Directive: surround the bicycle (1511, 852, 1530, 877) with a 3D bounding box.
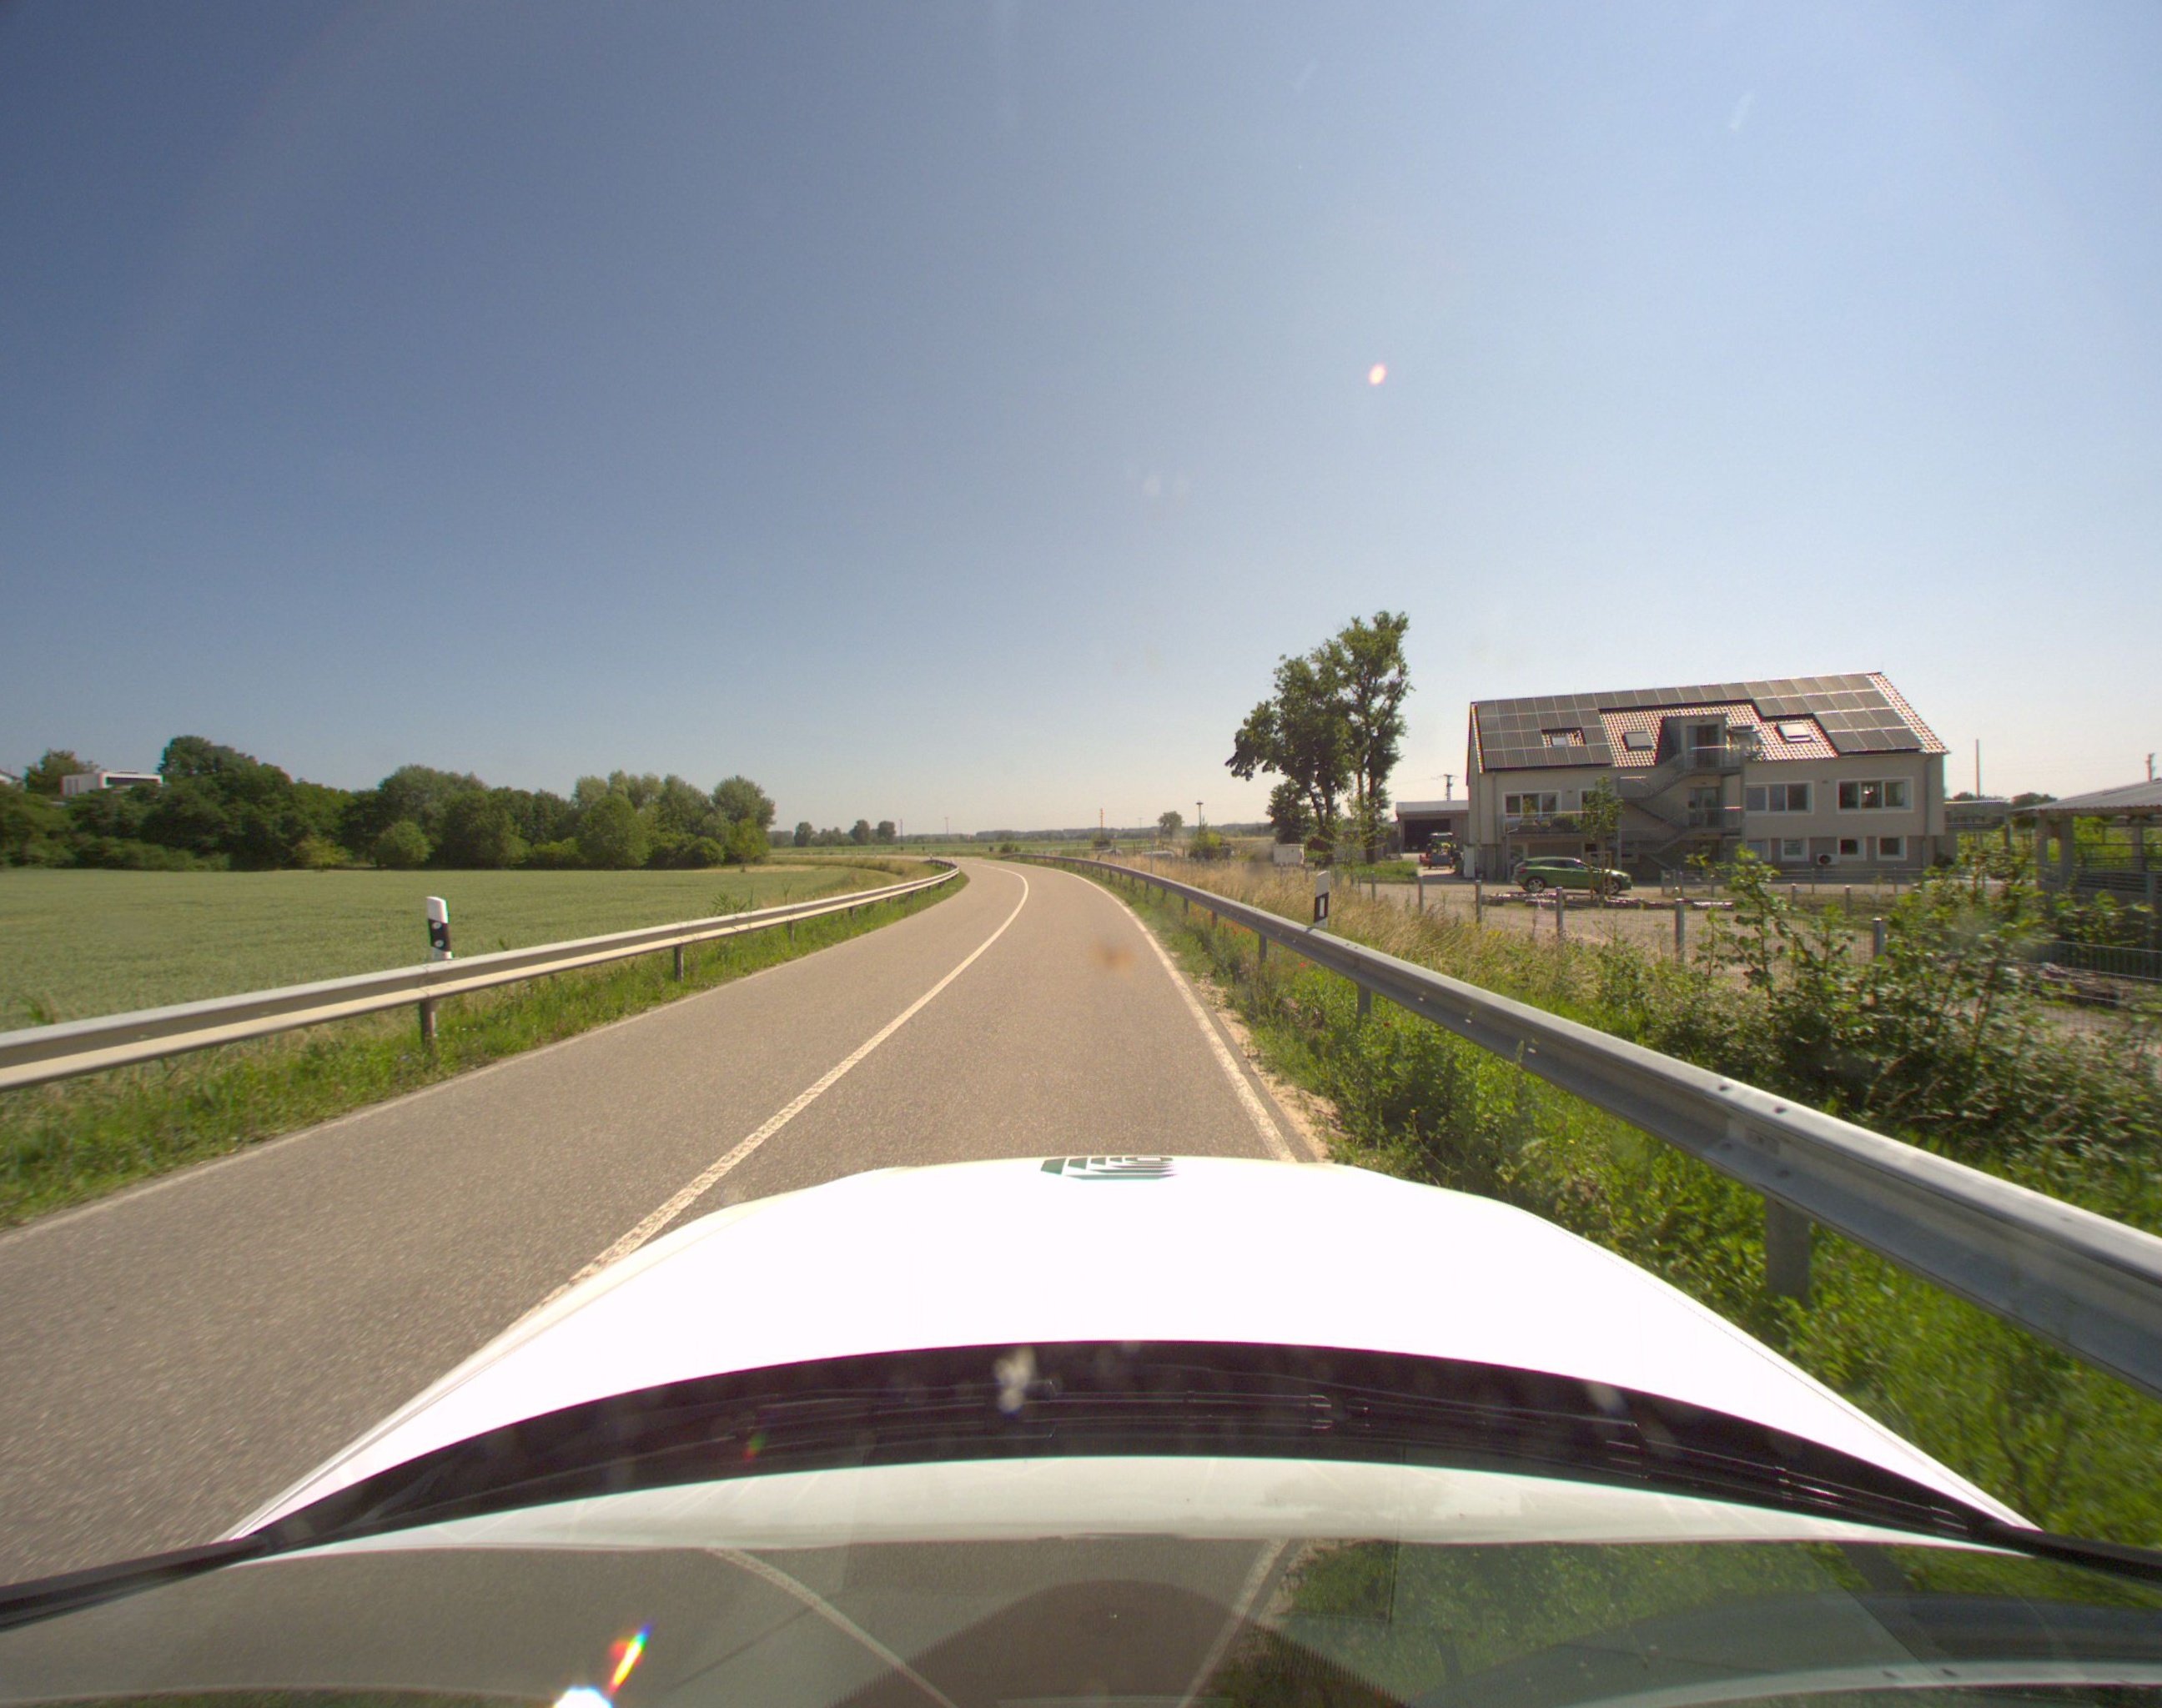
[{"bbox_3d":[22.893,0.539,42.425,0.706,1.191,1.981,-2,1,25],"label":"bicycle"}]

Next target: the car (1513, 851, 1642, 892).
[{"bbox_3d":[20.437,0.684,33.715,4.321,1.580,1.944,1,0,23],"label":"car"}]

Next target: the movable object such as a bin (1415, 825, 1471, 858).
[{"bbox_3d":[31.699,-1.126,71.564,2.984,2.769,6.524,0,2,10],"label":"movable object such as a bin"}]

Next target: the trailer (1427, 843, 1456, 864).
[{"bbox_3d":[26.642,-0.025,60.206,1.694,1.496,3.160,-1,-1,28],"label":"trailer"}]
